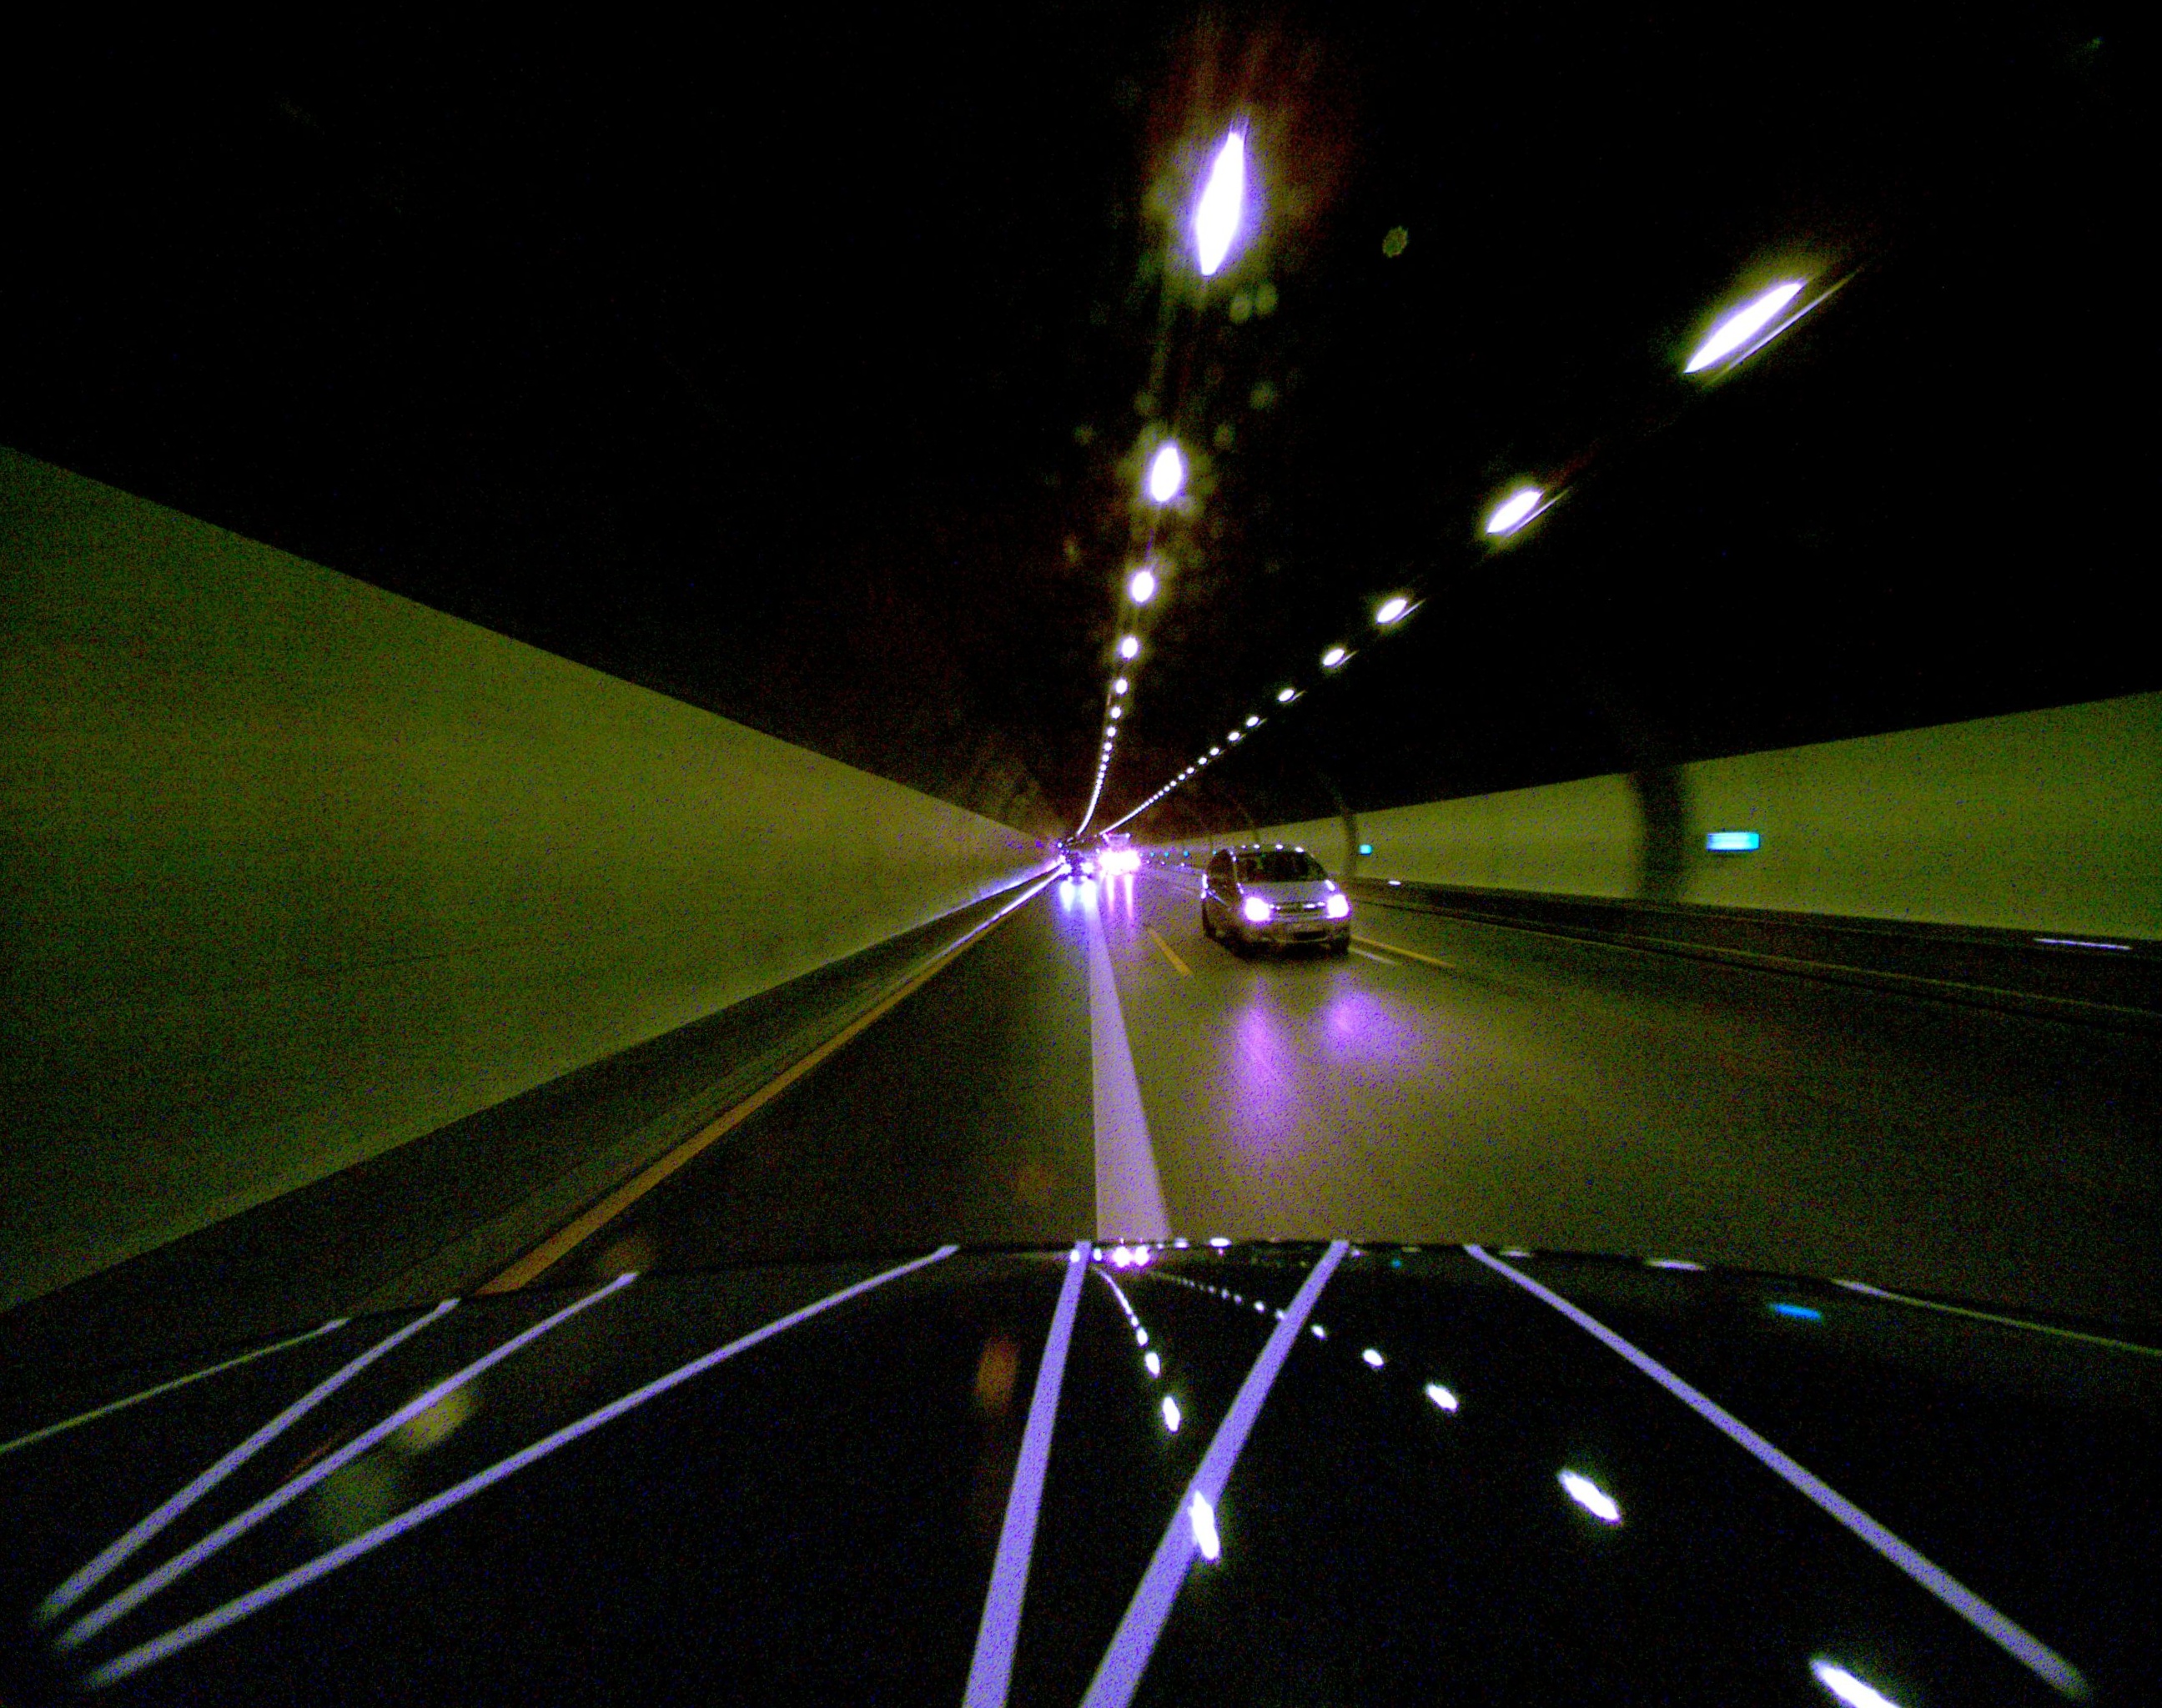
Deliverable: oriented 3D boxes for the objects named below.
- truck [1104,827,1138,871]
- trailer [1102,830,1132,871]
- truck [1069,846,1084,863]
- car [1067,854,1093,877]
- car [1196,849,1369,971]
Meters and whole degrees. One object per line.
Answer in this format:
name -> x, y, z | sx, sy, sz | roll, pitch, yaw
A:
truck -> 3.190, -0.389, 61.510 | 2.374, 3.328, 4.719 | -3, 0, 1
trailer -> 3.084, -0.279, 68.243 | 2.374, 3.328, 12.079 | 0, 0, 1
truck -> -0.843, 0.127, 129.996 | 2.151, 2.609, 9.906 | -1, -1, -2
car -> -0.057, 0.758, 52.162 | 1.728, 1.474, 4.000 | -1, 0, 0
car -> 2.986, 0.729, 12.140 | 1.766, 1.563, 4.097 | -2, 1, 2
